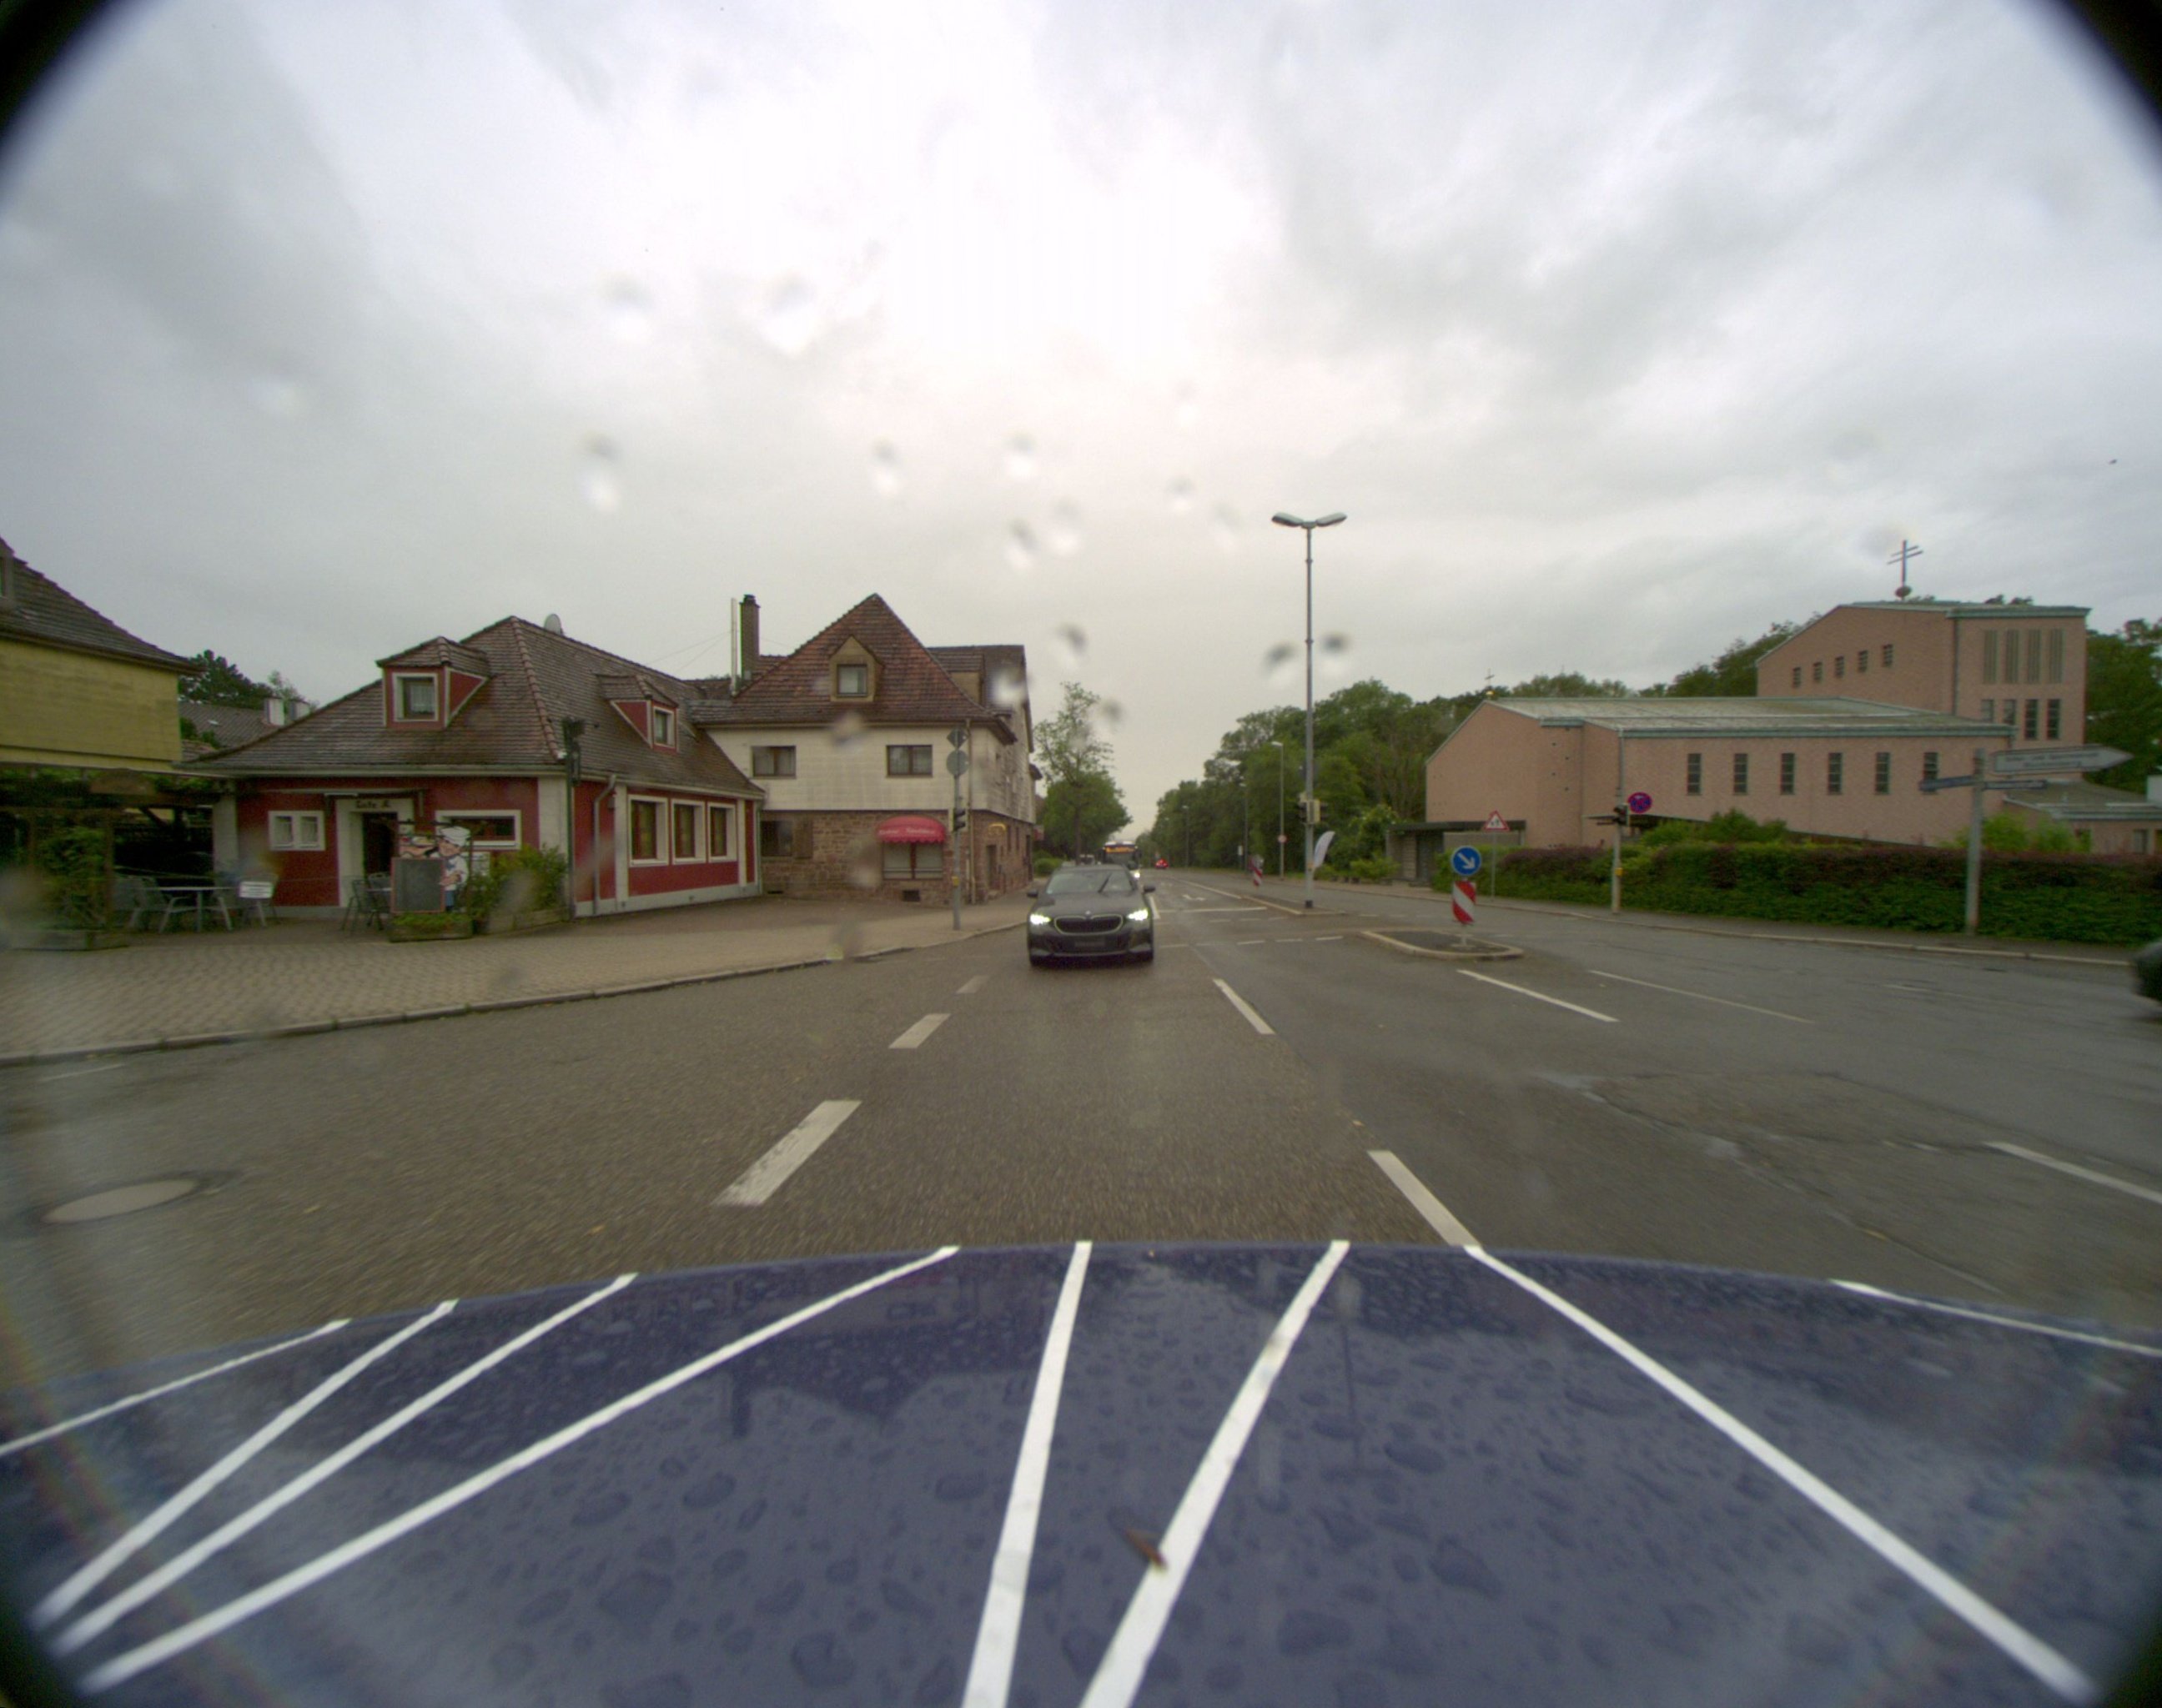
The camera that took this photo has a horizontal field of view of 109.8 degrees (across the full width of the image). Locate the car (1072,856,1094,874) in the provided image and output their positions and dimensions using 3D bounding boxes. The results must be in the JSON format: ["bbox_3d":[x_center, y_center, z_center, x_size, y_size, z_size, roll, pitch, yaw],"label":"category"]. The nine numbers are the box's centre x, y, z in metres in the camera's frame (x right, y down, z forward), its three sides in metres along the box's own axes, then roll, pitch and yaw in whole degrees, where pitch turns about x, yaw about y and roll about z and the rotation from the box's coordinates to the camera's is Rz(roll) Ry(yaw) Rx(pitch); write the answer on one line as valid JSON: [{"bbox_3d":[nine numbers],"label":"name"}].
[{"bbox_3d":[0.206,0.917,64.558,1.719,1.455,4.000,1,0,2],"label":"car"}]

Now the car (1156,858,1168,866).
[{"bbox_3d":[15.439,1.478,145.209,1.913,1.581,4.318,-1,0,1],"label":"car"}]

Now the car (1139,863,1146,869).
[{"bbox_3d":[17.834,3.496,220.190,1.915,1.445,4.949,3,0,2],"label":"car"}]

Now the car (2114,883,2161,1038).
[{"bbox_3d":[10.872,0.946,5.094,1.913,1.419,4.416,0,-1,1],"label":"car"}]

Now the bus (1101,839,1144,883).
[{"bbox_3d":[3.179,0.452,56.066,2.767,2.858,9.406,-2,0,4],"label":"bus"}]

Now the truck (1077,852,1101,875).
[{"bbox_3d":[0.849,0.885,75.210,1.998,2.184,5.758,0,0,4],"label":"truck"}]

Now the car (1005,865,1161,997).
[{"bbox_3d":[0.154,1.005,11.682,1.882,1.520,4.317,-3,0,4],"label":"car"}]

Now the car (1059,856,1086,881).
[{"bbox_3d":[-0.521,0.964,49.843,1.614,1.494,3.758,-2,-2,1],"label":"car"}]
